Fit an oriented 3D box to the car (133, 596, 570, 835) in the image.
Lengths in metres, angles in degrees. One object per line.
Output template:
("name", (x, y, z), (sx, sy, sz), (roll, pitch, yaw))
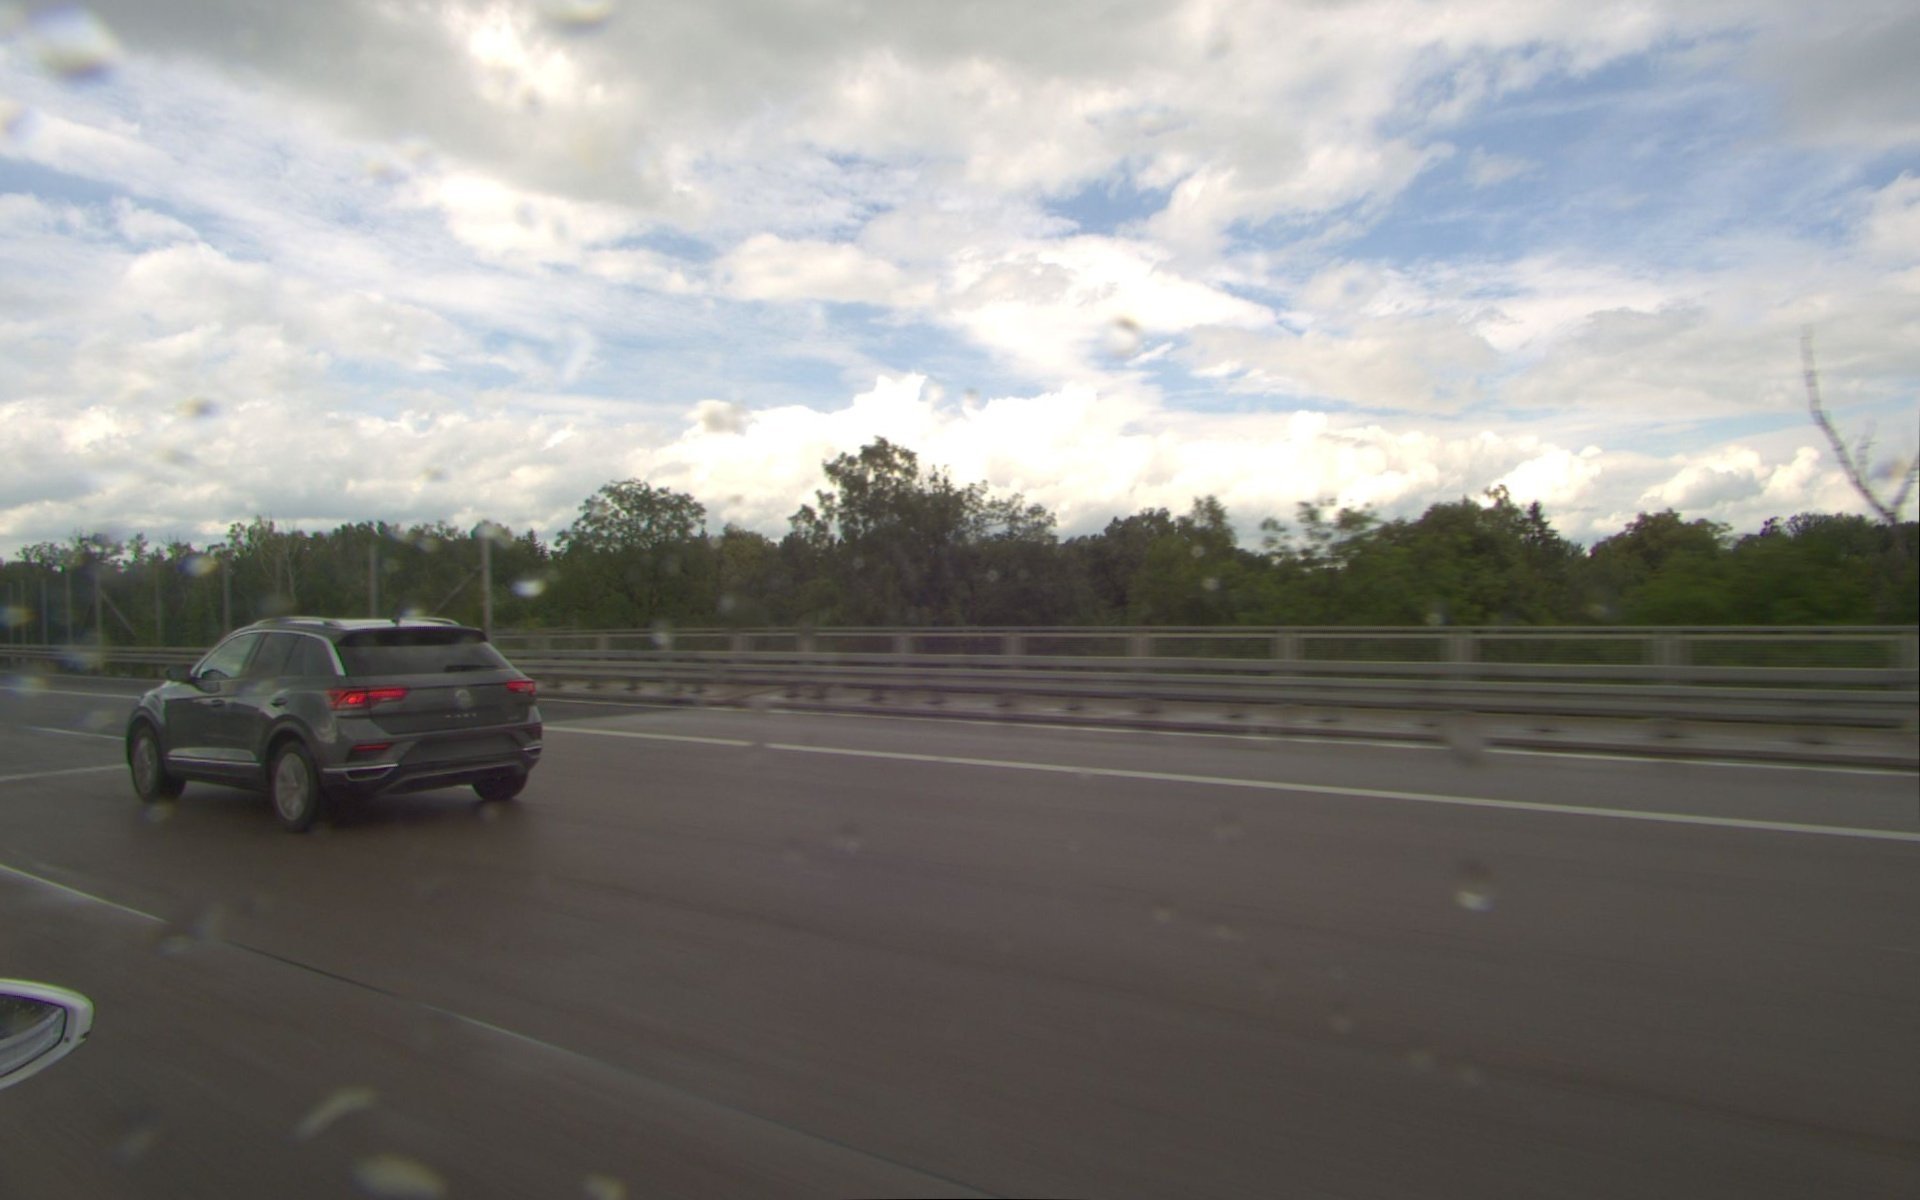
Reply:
("car", (-5.178, 0.809, 8.416), (3.671, 1.582, 1.788), (-1, -1, 34))
